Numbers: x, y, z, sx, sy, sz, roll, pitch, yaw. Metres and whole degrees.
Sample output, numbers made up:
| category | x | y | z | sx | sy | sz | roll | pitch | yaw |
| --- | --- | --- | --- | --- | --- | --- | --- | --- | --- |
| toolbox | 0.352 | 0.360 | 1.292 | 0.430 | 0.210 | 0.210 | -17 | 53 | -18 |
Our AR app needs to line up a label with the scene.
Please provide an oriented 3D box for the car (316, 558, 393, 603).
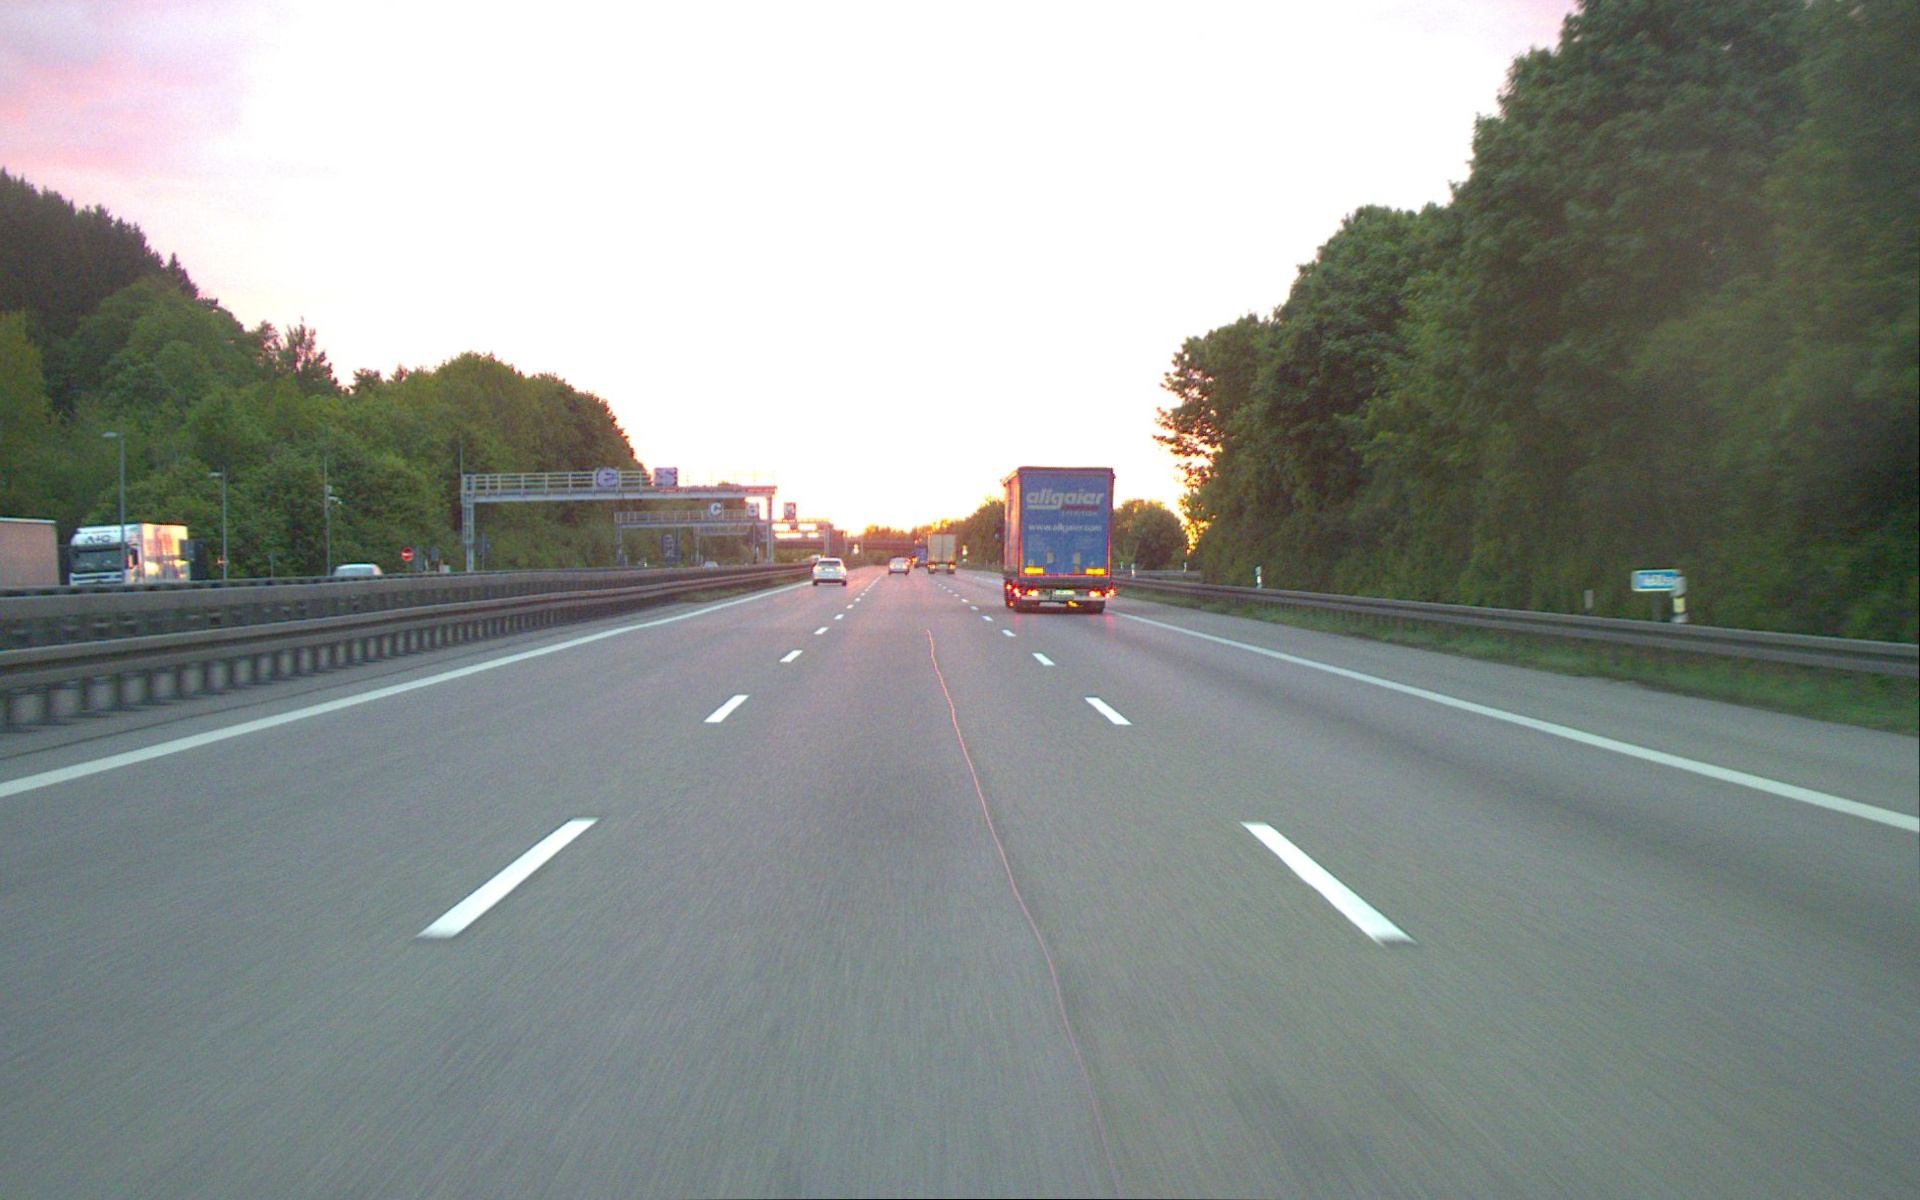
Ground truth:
| category | x | y | z | sx | sy | sz | roll | pitch | yaw |
| --- | --- | --- | --- | --- | --- | --- | --- | --- | --- |
| car | -22.034 | -0.733 | 125.169 | 1.993 | 1.588 | 4.741 | 1 | 1 | 0 |

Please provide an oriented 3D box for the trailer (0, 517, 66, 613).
| category | x | y | z | sx | sy | sz | roll | pitch | yaw |
| --- | --- | --- | --- | --- | --- | --- | --- | --- | --- |
| trailer | -35.574 | -1.284 | 124.387 | 2.873 | 3.413 | 13.851 | 1 | 1 | 0 |

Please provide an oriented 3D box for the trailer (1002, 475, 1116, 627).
| category | x | y | z | sx | sy | sz | roll | pitch | yaw |
| --- | --- | --- | --- | --- | --- | --- | --- | --- | --- |
| trailer | 2.780 | -1.372 | 100.485 | 2.772 | 4.072 | 13.739 | 1 | 0 | 0 |

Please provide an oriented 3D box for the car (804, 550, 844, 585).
| category | x | y | z | sx | sy | sz | roll | pitch | yaw |
| --- | --- | --- | --- | --- | --- | --- | --- | --- | --- |
| car | -7.196 | -1.724 | 182.108 | 2.013 | 1.743 | 3.903 | -3 | 1 | -2 |

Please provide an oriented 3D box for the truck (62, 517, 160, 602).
| category | x | y | z | sx | sy | sz | roll | pitch | yaw |
| --- | --- | --- | --- | --- | --- | --- | --- | --- | --- |
| truck | -34.916 | -1.675 | 141.591 | 2.873 | 3.413 | 6.727 | 1 | 1 | -5 |

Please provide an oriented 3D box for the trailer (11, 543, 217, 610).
| category | x | y | z | sx | sy | sz | roll | pitch | yaw |
| --- | --- | --- | --- | --- | --- | --- | --- | --- | --- |
| trailer | -48.025 | -1.362 | 195.793 | 3.066 | 3.666 | 13.321 | 1 | 1 | 29 |

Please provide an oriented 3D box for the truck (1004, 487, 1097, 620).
| category | x | y | z | sx | sy | sz | roll | pitch | yaw |
| --- | --- | --- | --- | --- | --- | --- | --- | --- | --- |
| truck | 2.785 | -1.425 | 107.508 | 2.736 | 3.983 | 5.849 | 1 | 0 | 1 |
